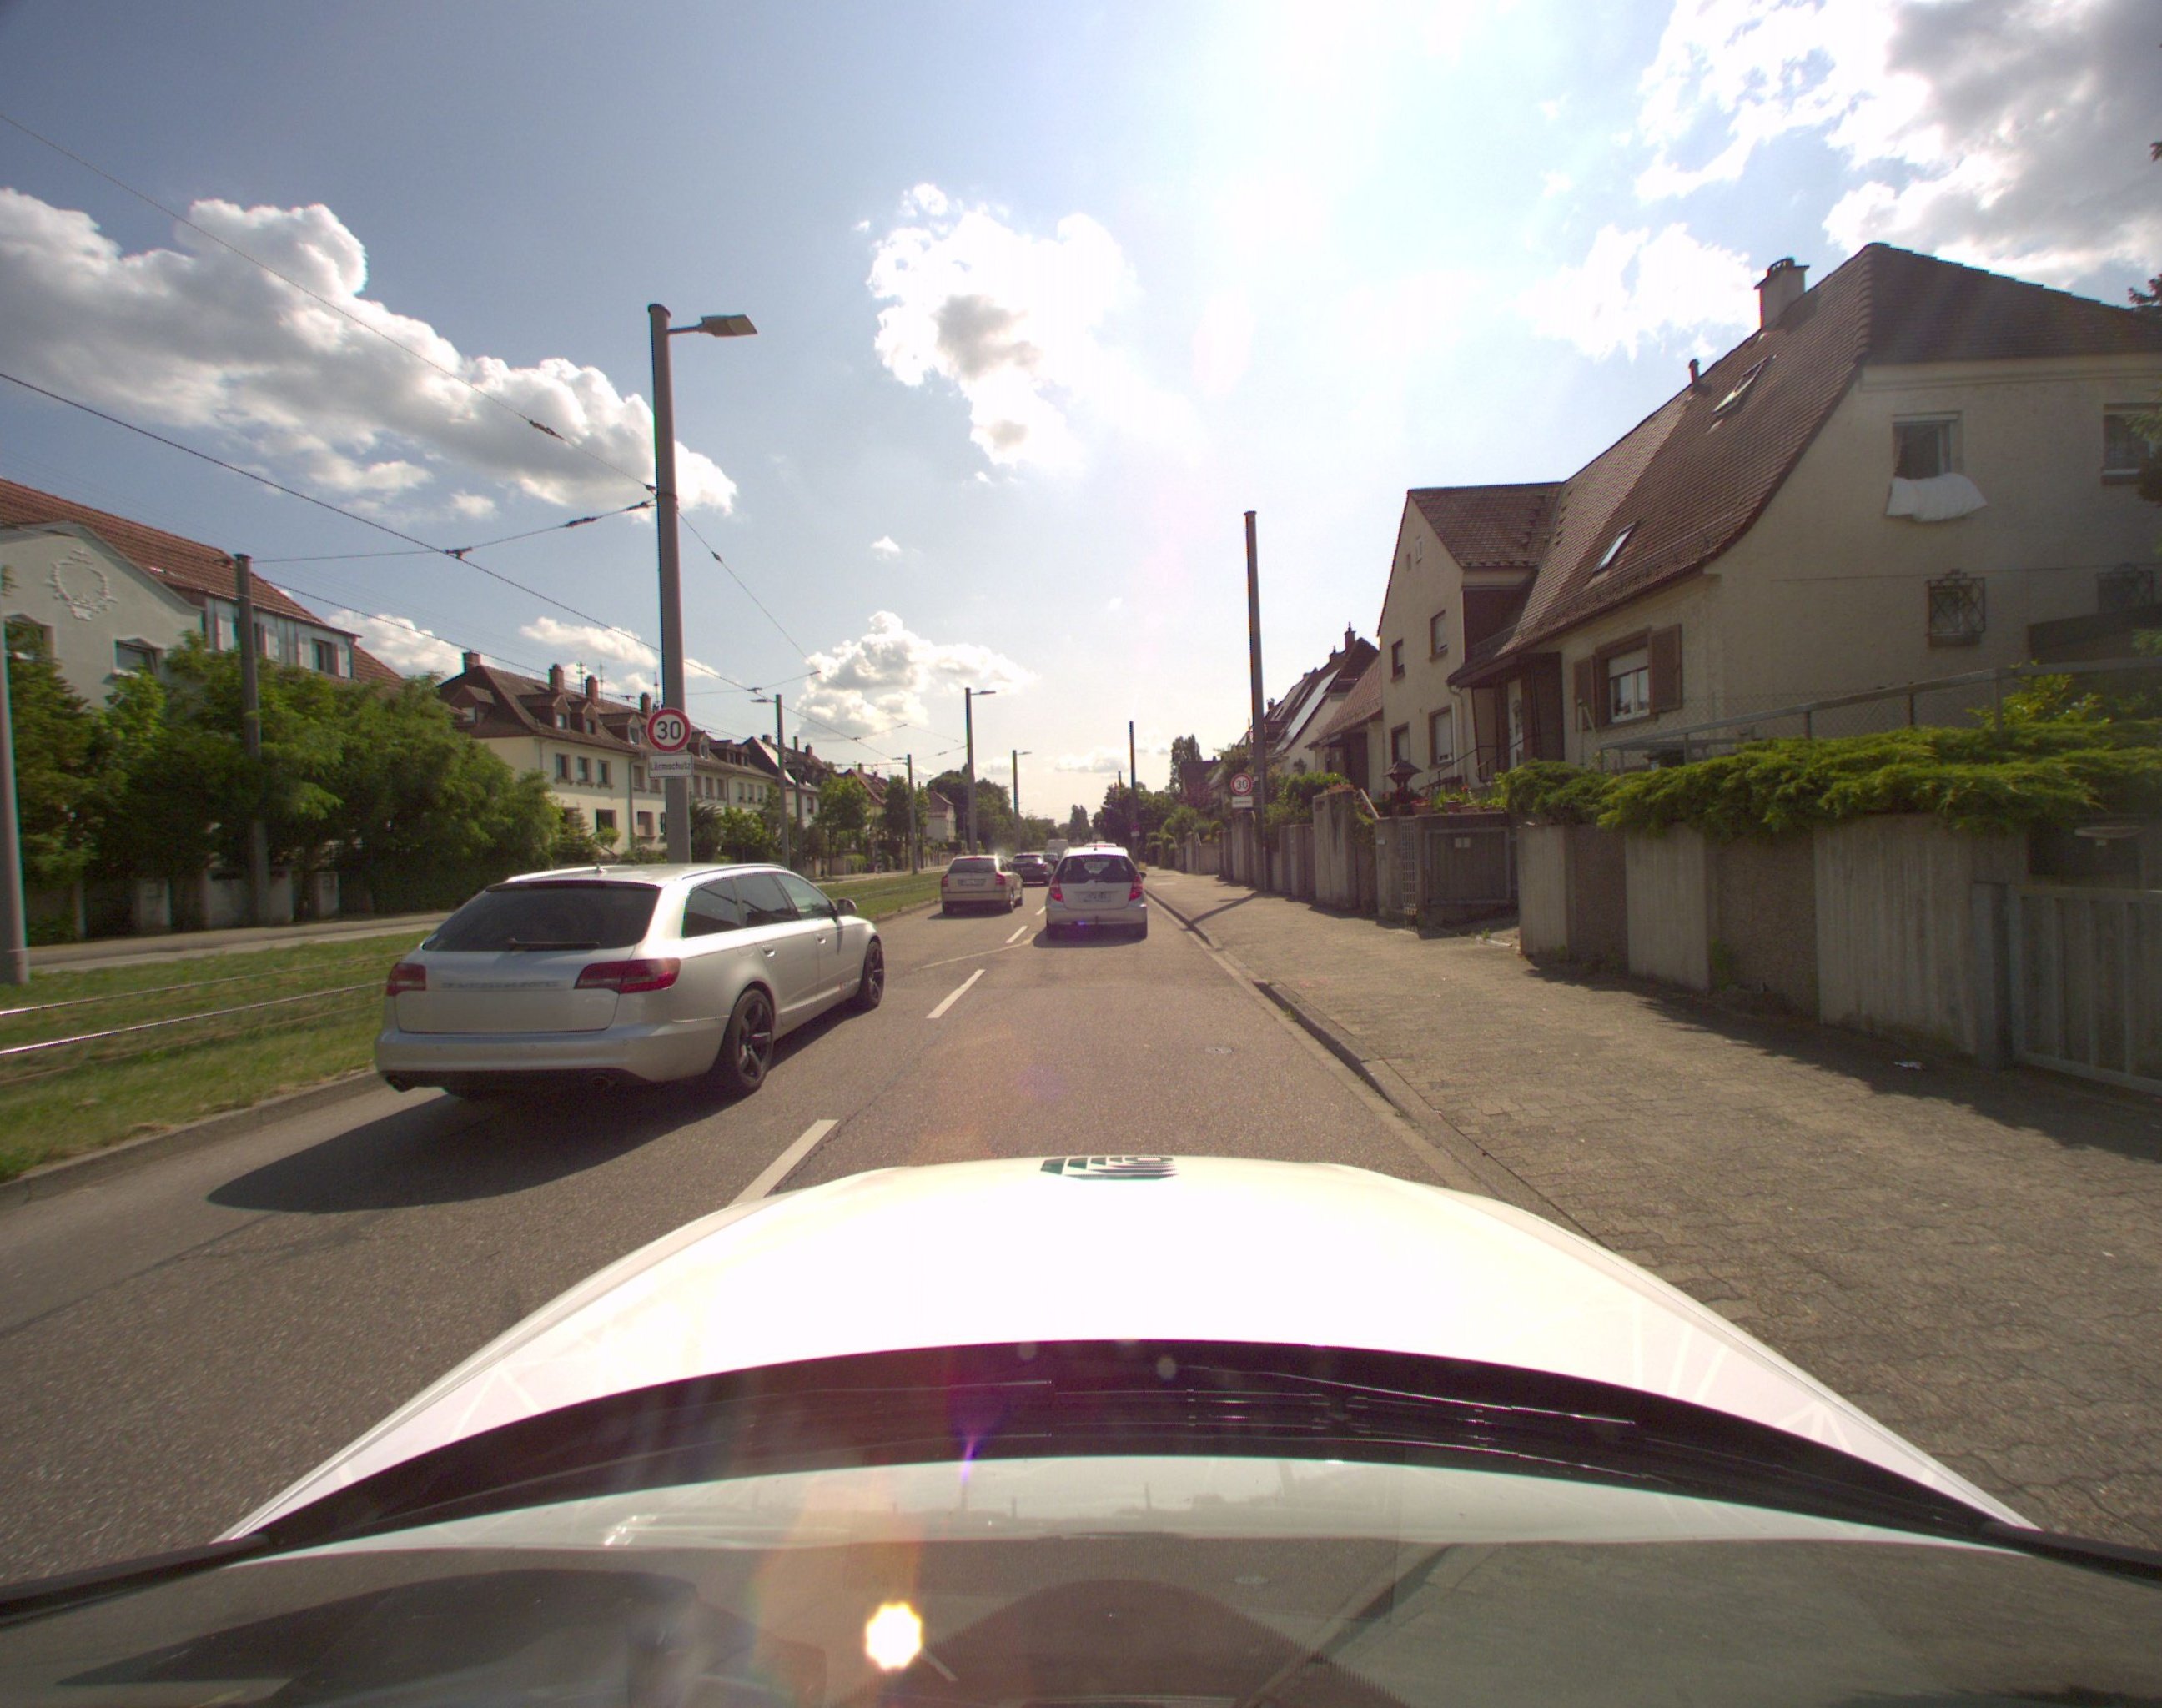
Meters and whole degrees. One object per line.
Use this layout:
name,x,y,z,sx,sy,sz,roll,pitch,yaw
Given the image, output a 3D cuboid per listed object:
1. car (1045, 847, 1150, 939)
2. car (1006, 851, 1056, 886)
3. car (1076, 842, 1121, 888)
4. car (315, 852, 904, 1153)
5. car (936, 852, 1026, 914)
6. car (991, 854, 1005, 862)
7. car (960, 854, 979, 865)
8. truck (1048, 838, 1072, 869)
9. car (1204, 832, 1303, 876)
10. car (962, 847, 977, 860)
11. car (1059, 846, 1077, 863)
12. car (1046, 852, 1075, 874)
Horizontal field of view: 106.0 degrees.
car,0.280,0.641,15.523,1.724,1.517,4.016,-1,0,0
car,-2.213,0.609,37.124,1.910,1.477,4.562,-1,0,1
car,0.723,0.428,33.354,1.724,1.762,4.017,-1,0,1
car,-2.897,0.744,6.471,1.788,1.472,4.724,-1,0,2
car,-2.504,0.686,21.267,1.725,1.449,4.124,-1,0,1
car,-15.503,0.676,152.590,1.908,1.477,4.566,-1,0,3
car,-15.997,0.760,117.332,1.908,1.477,4.566,-1,0,3
truck,-1.751,-0.071,69.608,1.847,2.552,5.853,-1,0,-1
car,7.780,0.004,37.067,3.978,1.684,1.998,-4,0,-3
car,-20.592,-0.075,150.814,1.908,2.330,4.566,-1,0,3
car,-1.649,0.054,102.003,1.908,2.077,4.566,-1,0,3
car,-1.334,0.589,54.689,1.847,1.388,4.513,-1,0,-1
